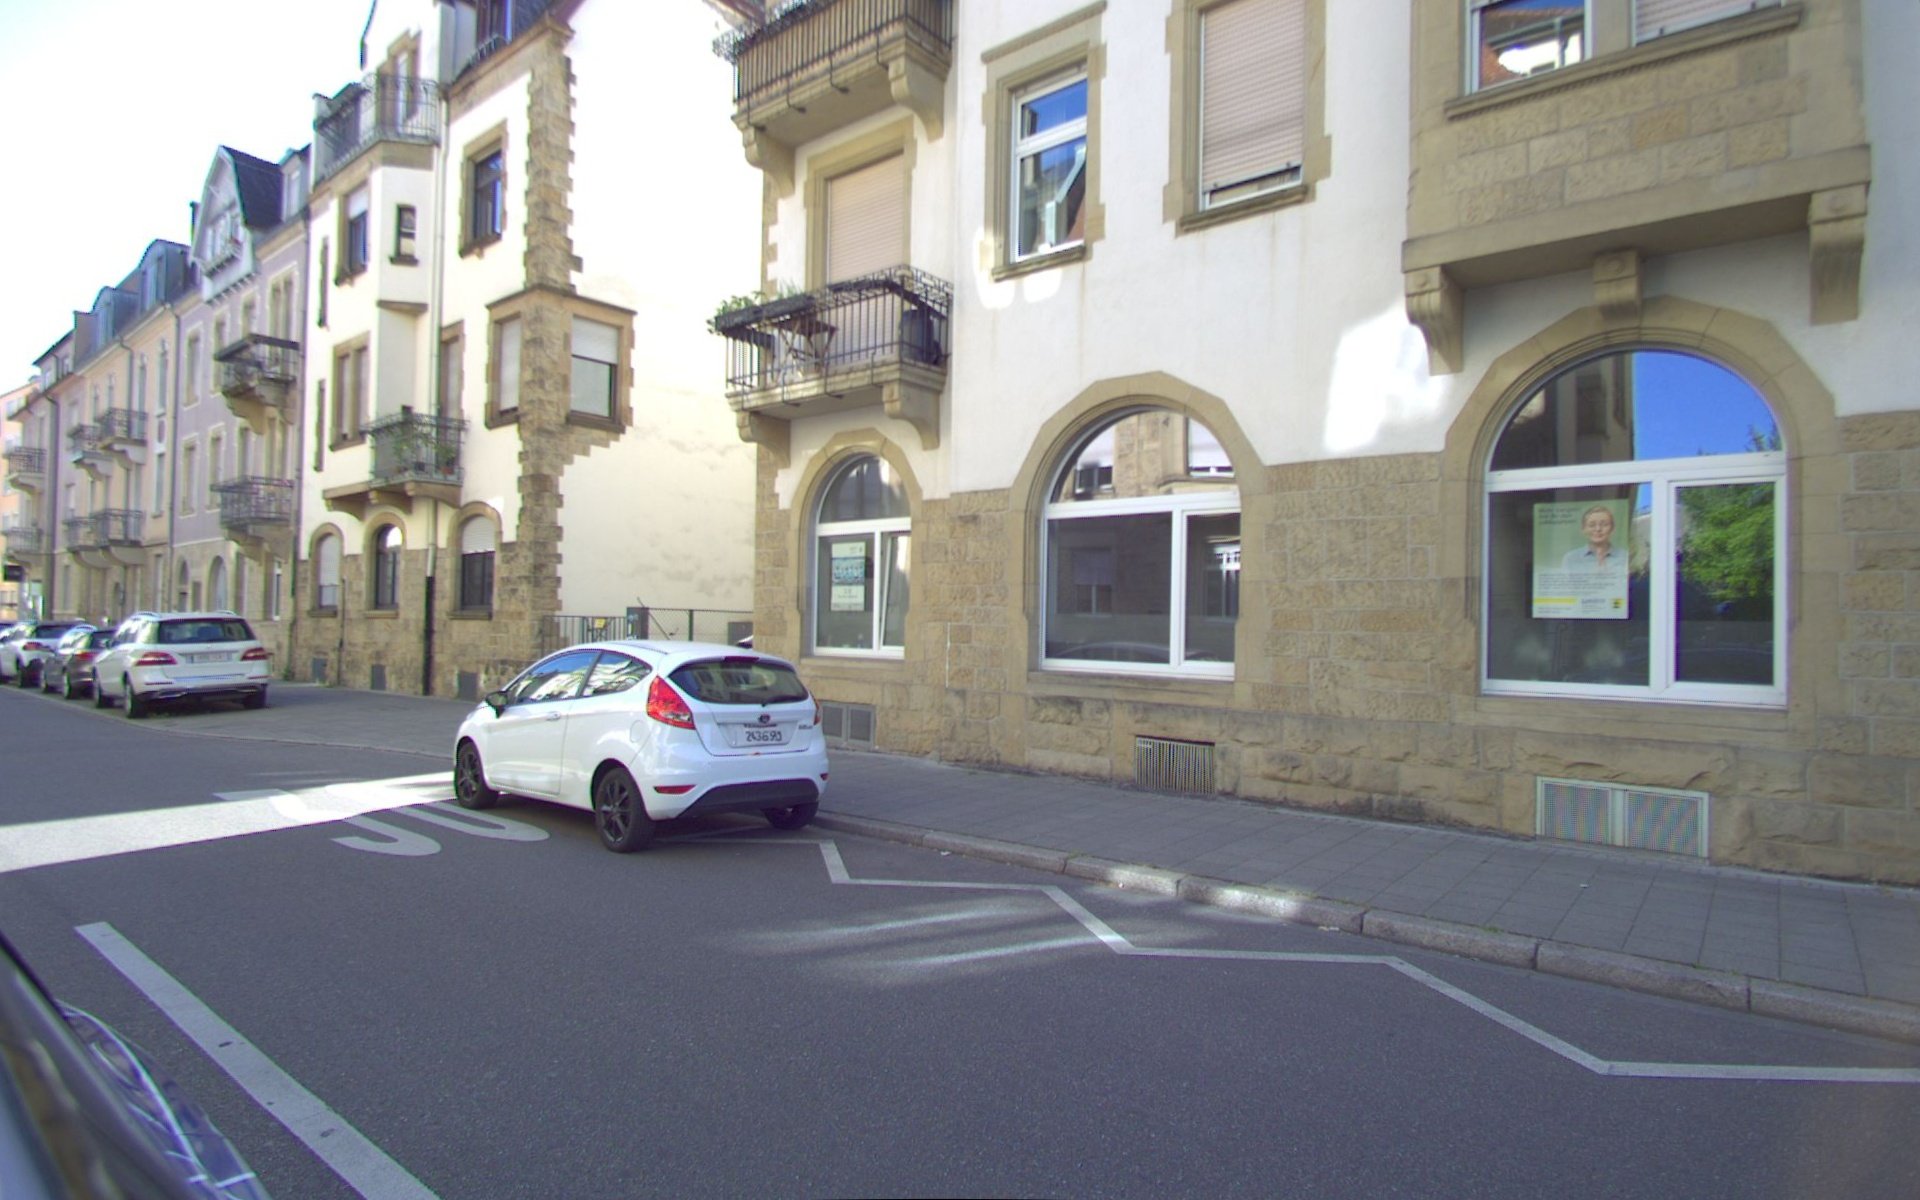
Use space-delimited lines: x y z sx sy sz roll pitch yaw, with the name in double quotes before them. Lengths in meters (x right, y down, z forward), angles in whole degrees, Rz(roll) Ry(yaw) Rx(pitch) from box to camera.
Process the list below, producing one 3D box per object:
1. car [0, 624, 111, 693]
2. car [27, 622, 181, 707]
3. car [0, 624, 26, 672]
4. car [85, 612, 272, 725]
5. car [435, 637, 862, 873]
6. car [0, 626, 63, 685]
"car" -22.957 1.397 25.433 4.319 1.520 1.866 -1 0 41
"car" -18.454 1.303 21.751 4.319 1.519 1.866 -1 2 41
"car" -33.150 1.623 34.220 4.319 1.520 1.866 -1 0 41
"car" -13.966 1.111 18.002 4.209 1.740 1.866 -1 0 41
"car" -2.636 1.055 8.170 3.642 1.469 1.634 -2 -5 42
"car" -27.166 1.532 28.872 4.317 1.511 1.833 -1 0 41
